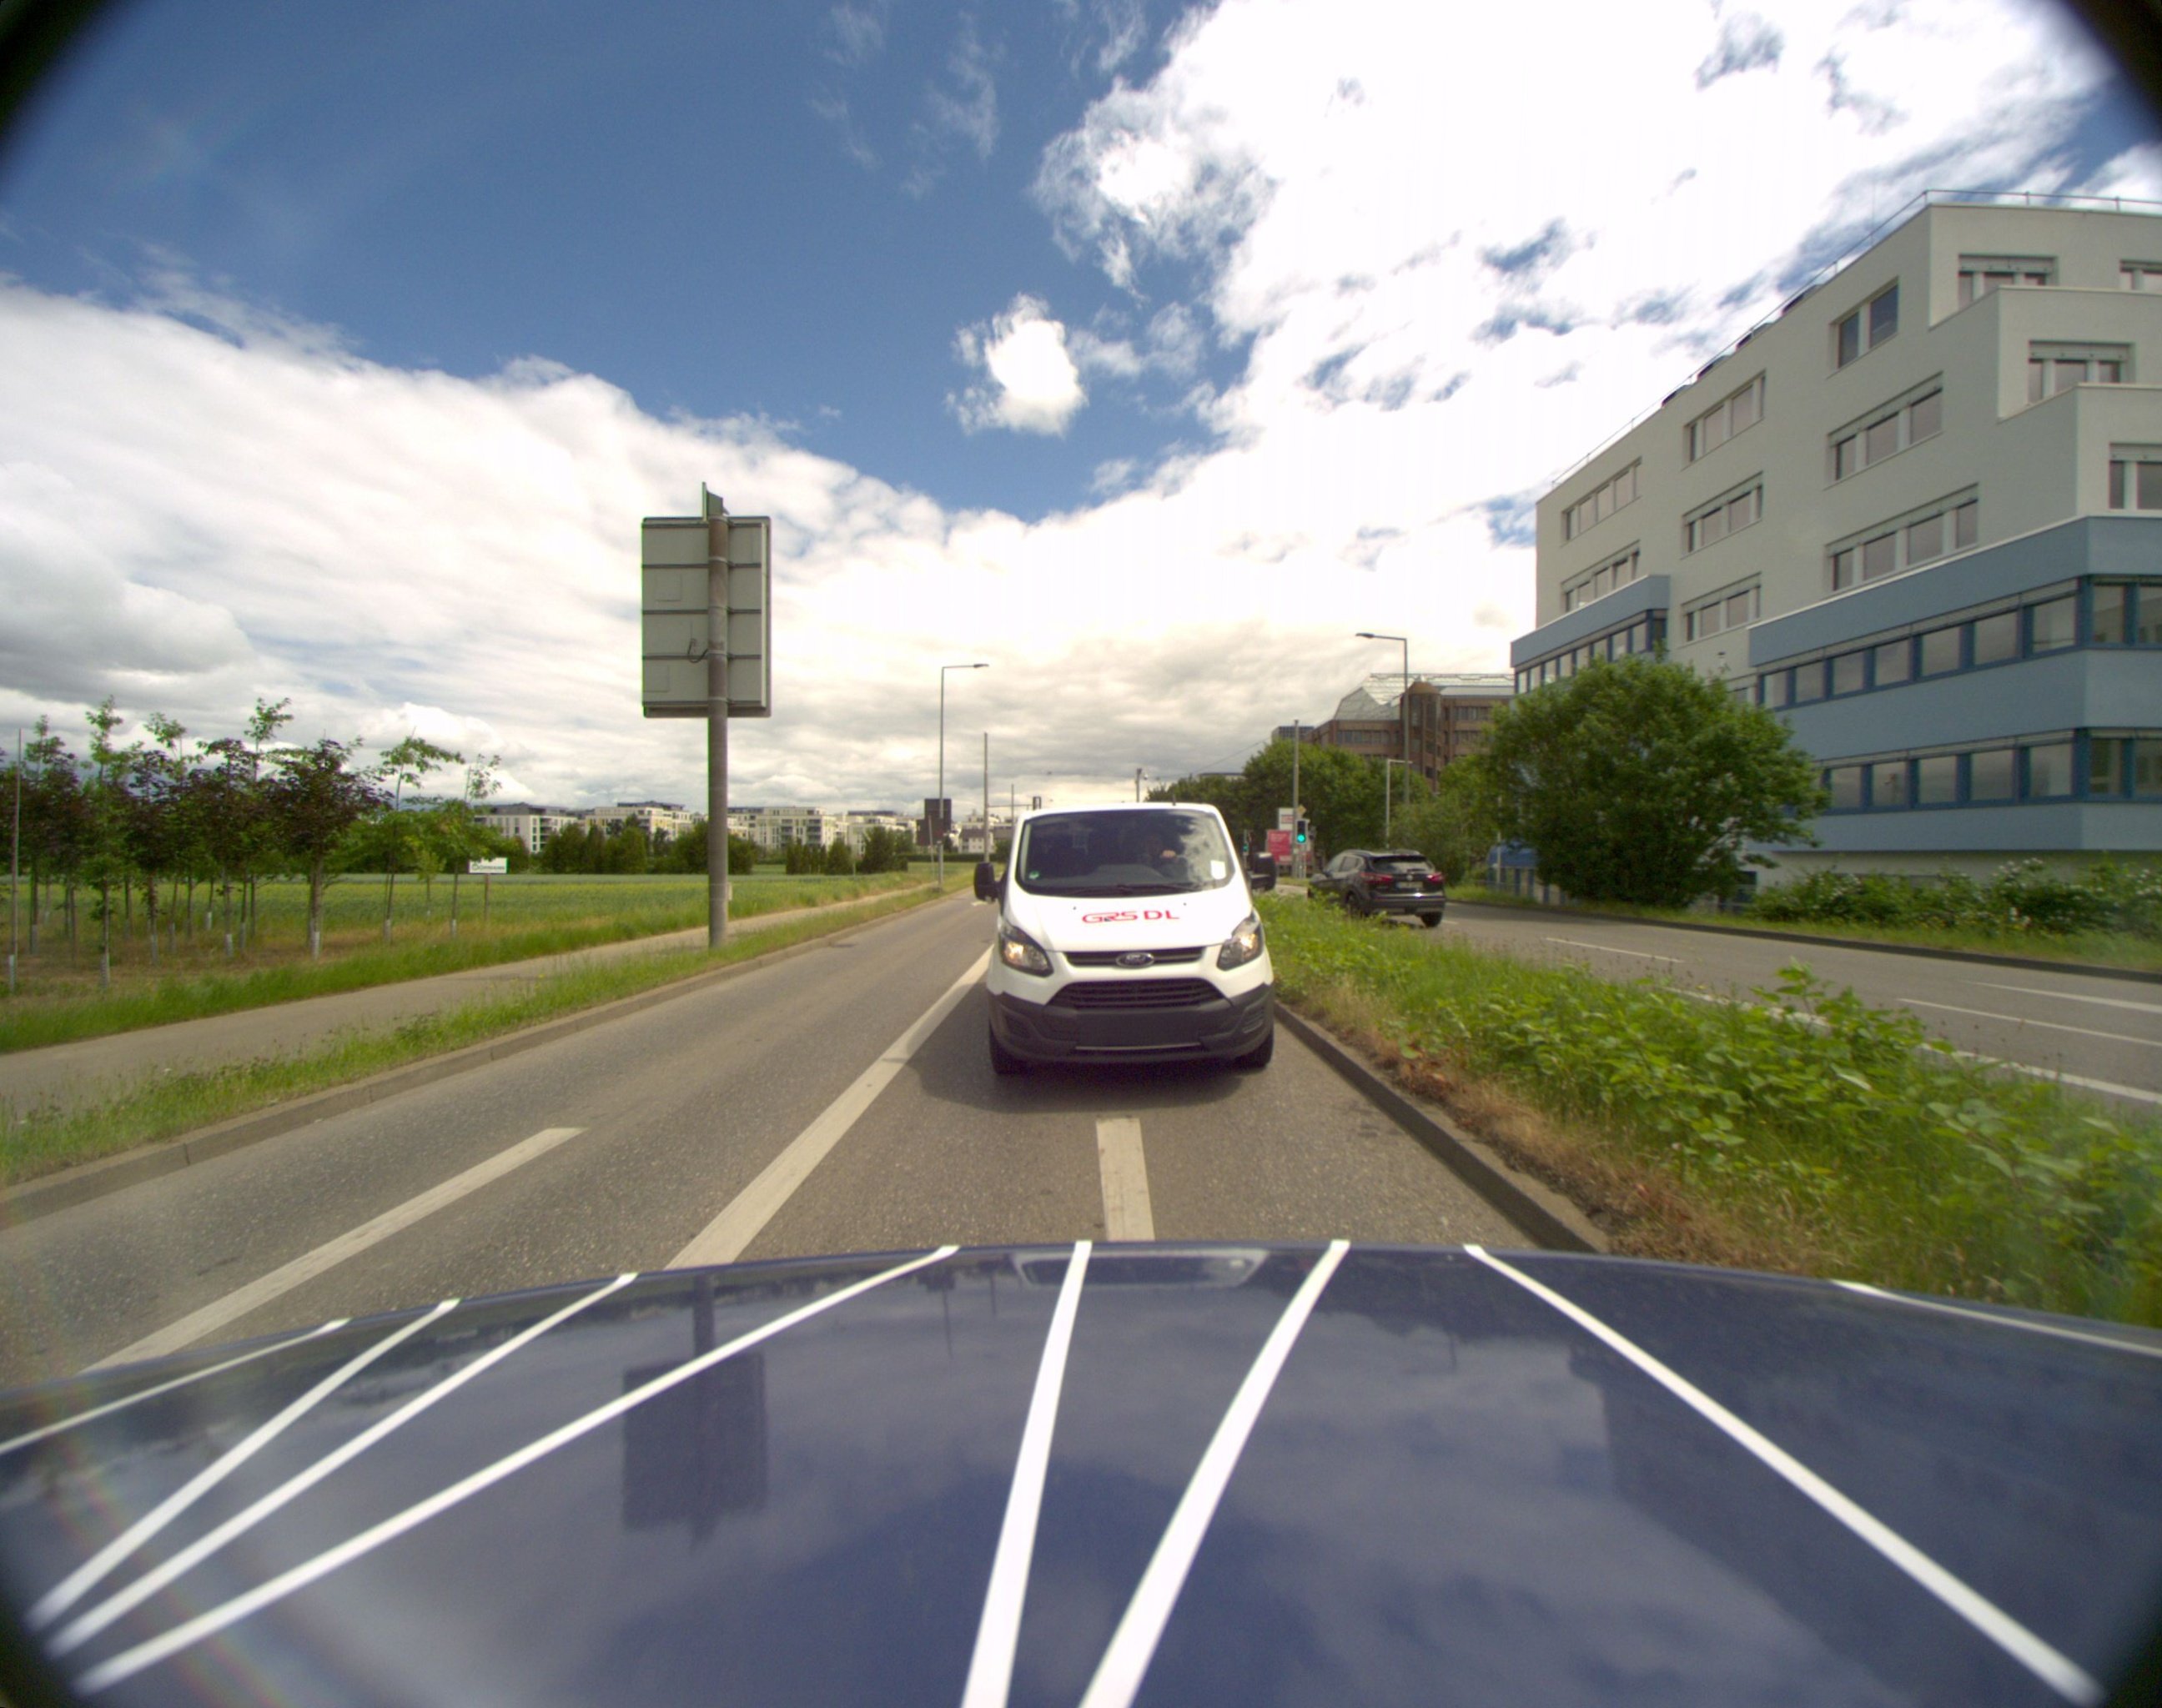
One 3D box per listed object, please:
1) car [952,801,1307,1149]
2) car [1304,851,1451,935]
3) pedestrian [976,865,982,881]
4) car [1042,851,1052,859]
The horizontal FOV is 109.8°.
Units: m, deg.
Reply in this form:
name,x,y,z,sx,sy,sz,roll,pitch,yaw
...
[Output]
name,x,y,z,sx,sy,sz,roll,pitch,yaw
car,0.311,0.688,6.856,1.968,1.938,5.055,-2,0,1
car,6.385,0.756,16.861,1.700,1.592,4.043,-1,1,0
pedestrian,-10.622,1.966,79.031,0.492,1.693,0.626,-2,1,-1
car,-6.039,0.139,136.182,1.683,1.410,3.739,-1,1,-1
